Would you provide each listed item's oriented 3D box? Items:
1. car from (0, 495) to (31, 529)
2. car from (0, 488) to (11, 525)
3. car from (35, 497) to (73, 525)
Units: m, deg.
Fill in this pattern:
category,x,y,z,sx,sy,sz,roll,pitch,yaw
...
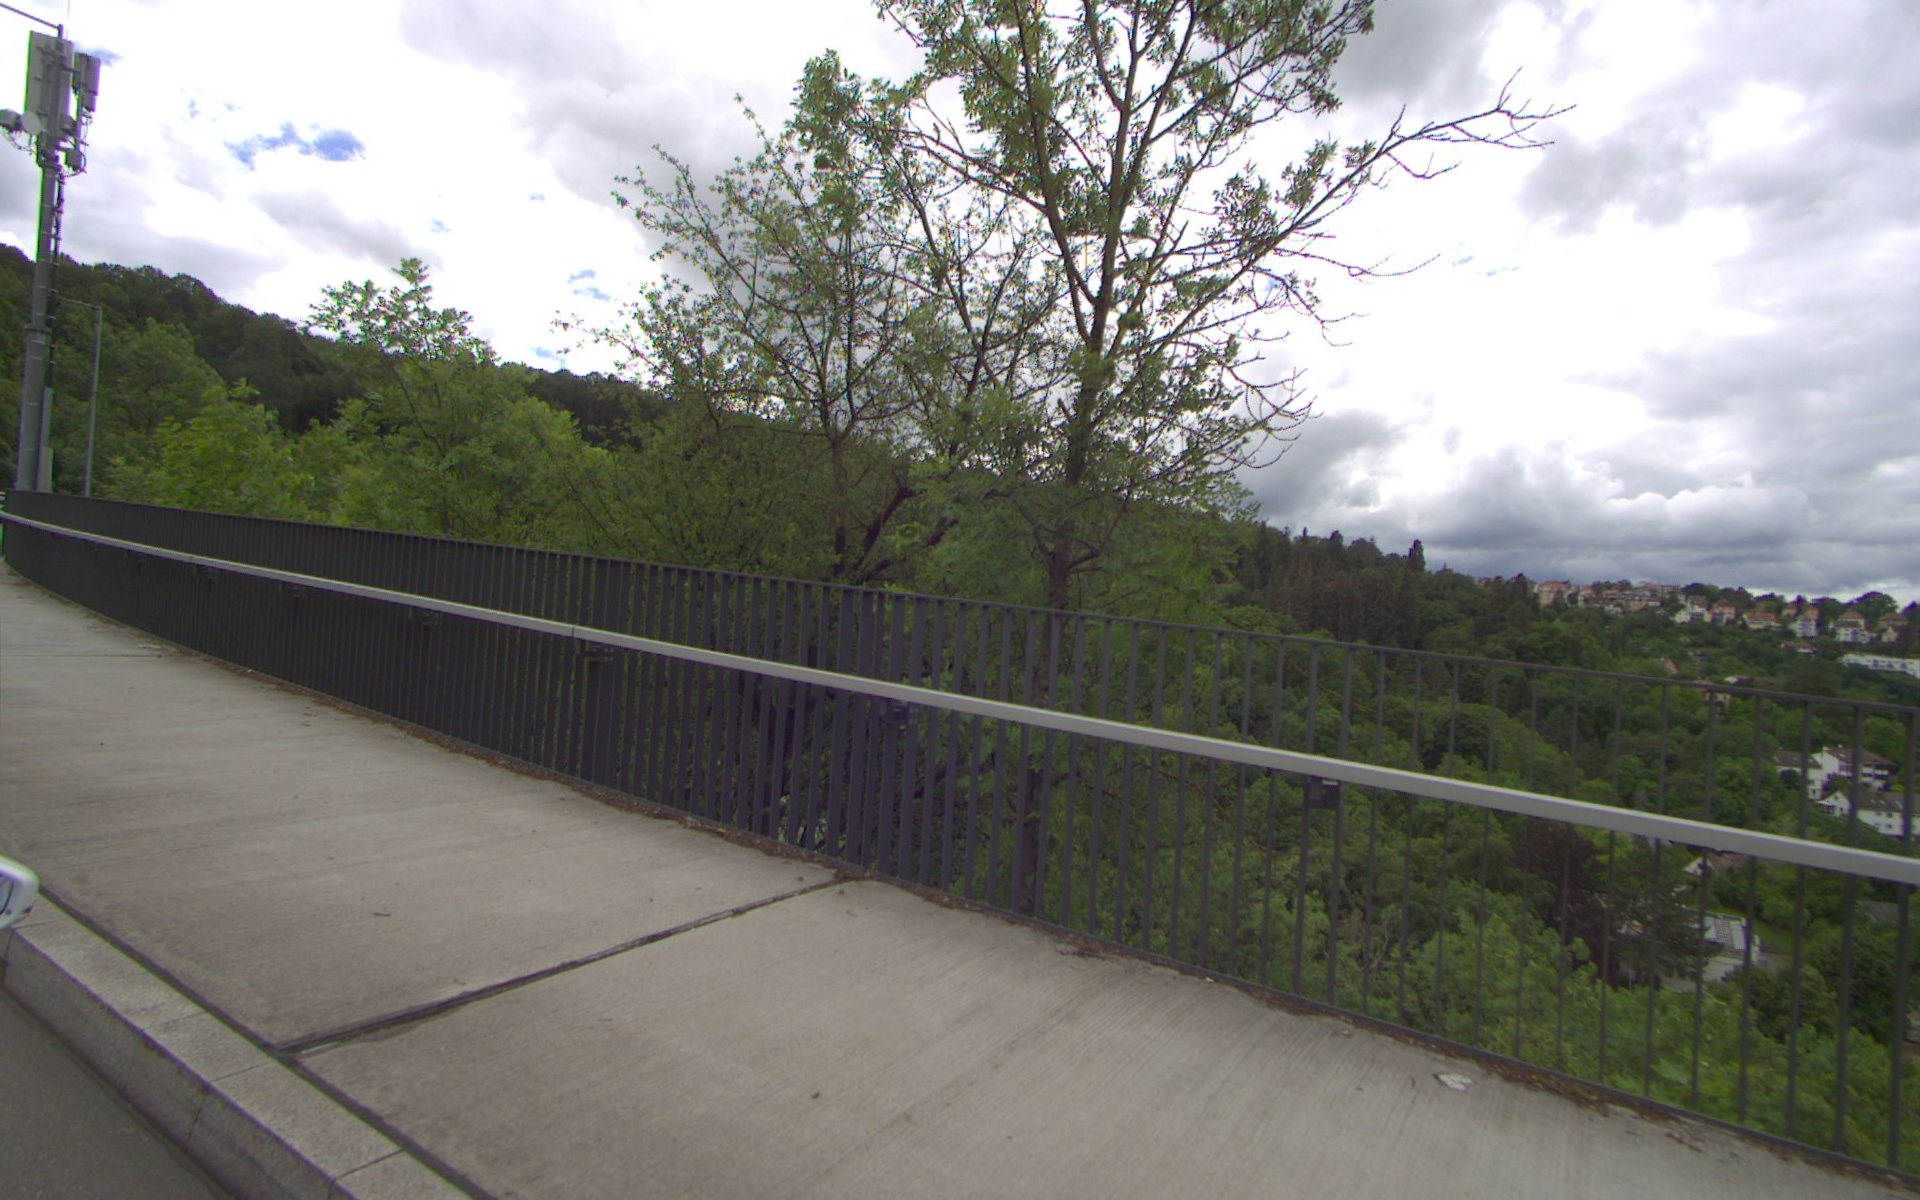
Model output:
category,x,y,z,sx,sy,sz,roll,pitch,yaw
car,-55.561,-5.166,58.613,1.737,1.802,3.495,8,-1,-40
car,-46.901,-4.589,47.993,1.986,1.737,3.956,8,-1,-40
car,-73.486,-7.197,81.647,1.985,1.882,3.956,8,-1,-40
